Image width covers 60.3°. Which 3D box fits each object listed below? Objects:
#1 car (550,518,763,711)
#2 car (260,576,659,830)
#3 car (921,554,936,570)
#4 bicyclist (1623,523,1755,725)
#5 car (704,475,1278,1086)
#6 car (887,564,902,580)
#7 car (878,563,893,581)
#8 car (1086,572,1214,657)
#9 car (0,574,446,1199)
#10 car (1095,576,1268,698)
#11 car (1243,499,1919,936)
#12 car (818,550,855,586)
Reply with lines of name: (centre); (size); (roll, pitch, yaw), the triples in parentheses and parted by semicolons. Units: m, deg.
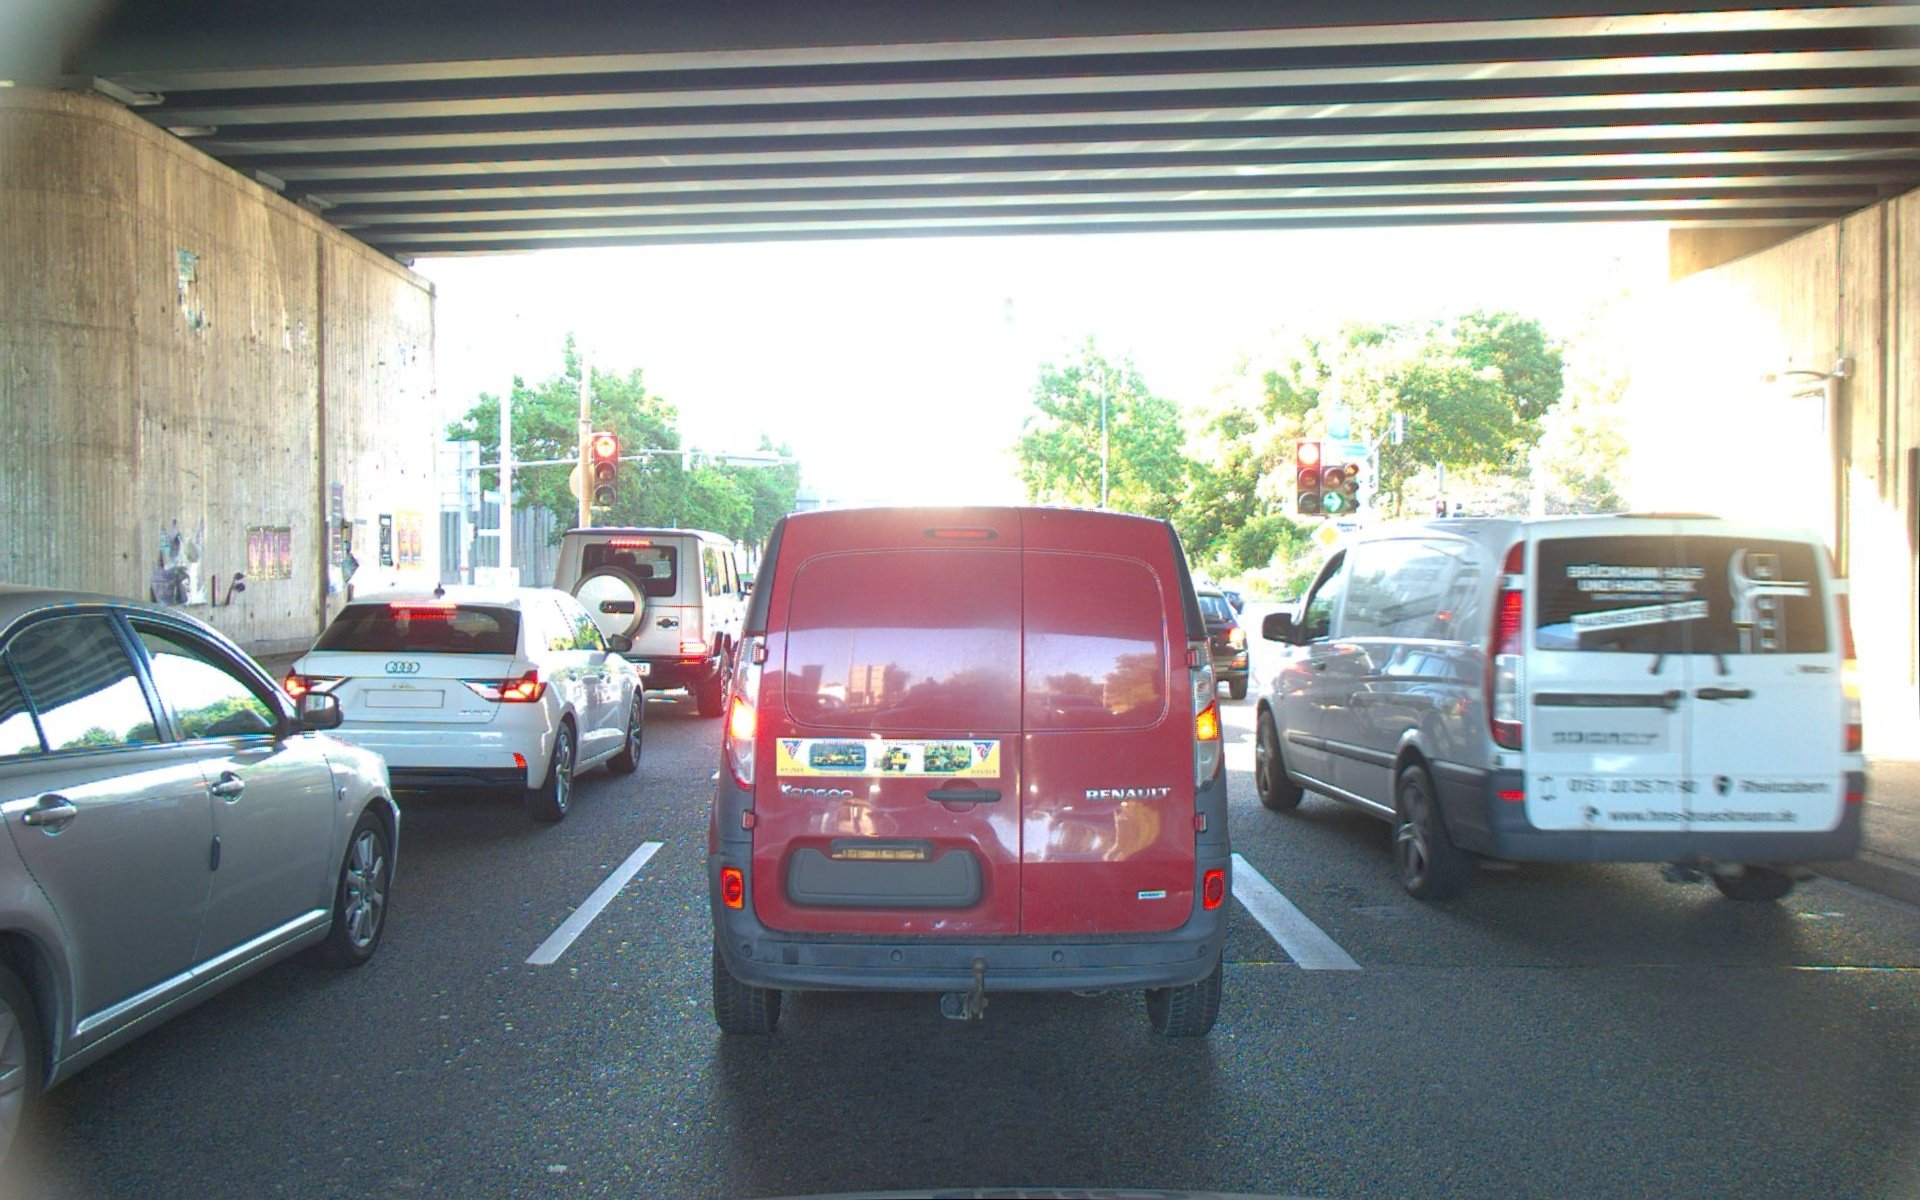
car: (-3.317, 0.139, 18.752); (1.777, 1.937, 3.812); (1, 0, -2)
car: (-3.226, 0.583, 11.424); (1.658, 1.435, 3.812); (1, 0, -2)
car: (-4.248, -5.030, 220.686); (1.953, 2.049, 3.999); (1, 0, -1)
bicyclist: (5.896, 0.178, 13.414); (0.639, 1.560, 0.846); (-2, 1, -2)
car: (0.067, 0.529, 6.922); (1.684, 1.795, 3.999); (1, 0, -1)
car: (-9.067, -3.901, 230.904); (1.953, 2.049, 3.999); (1, 0, -1)
car: (-8.953, -3.381, 198.827); (1.712, 2.049, 3.843); (1, 0, -1)
car: (3.555, 0.239, 31.671); (1.711, 1.481, 4.662); (1, 0, -3)
car: (-2.996, 0.660, 4.882); (1.662, 1.480, 4.397); (1, 0, -2)
car: (2.893, 0.451, 22.331); (1.710, 1.481, 3.715); (1, 0, -2)
car: (3.117, 0.500, 9.569); (1.860, 1.868, 4.832); (1, 0, -3)
car: (-7.506, -1.935, 100.462); (1.953, 2.049, 3.999); (1, 0, -1)
